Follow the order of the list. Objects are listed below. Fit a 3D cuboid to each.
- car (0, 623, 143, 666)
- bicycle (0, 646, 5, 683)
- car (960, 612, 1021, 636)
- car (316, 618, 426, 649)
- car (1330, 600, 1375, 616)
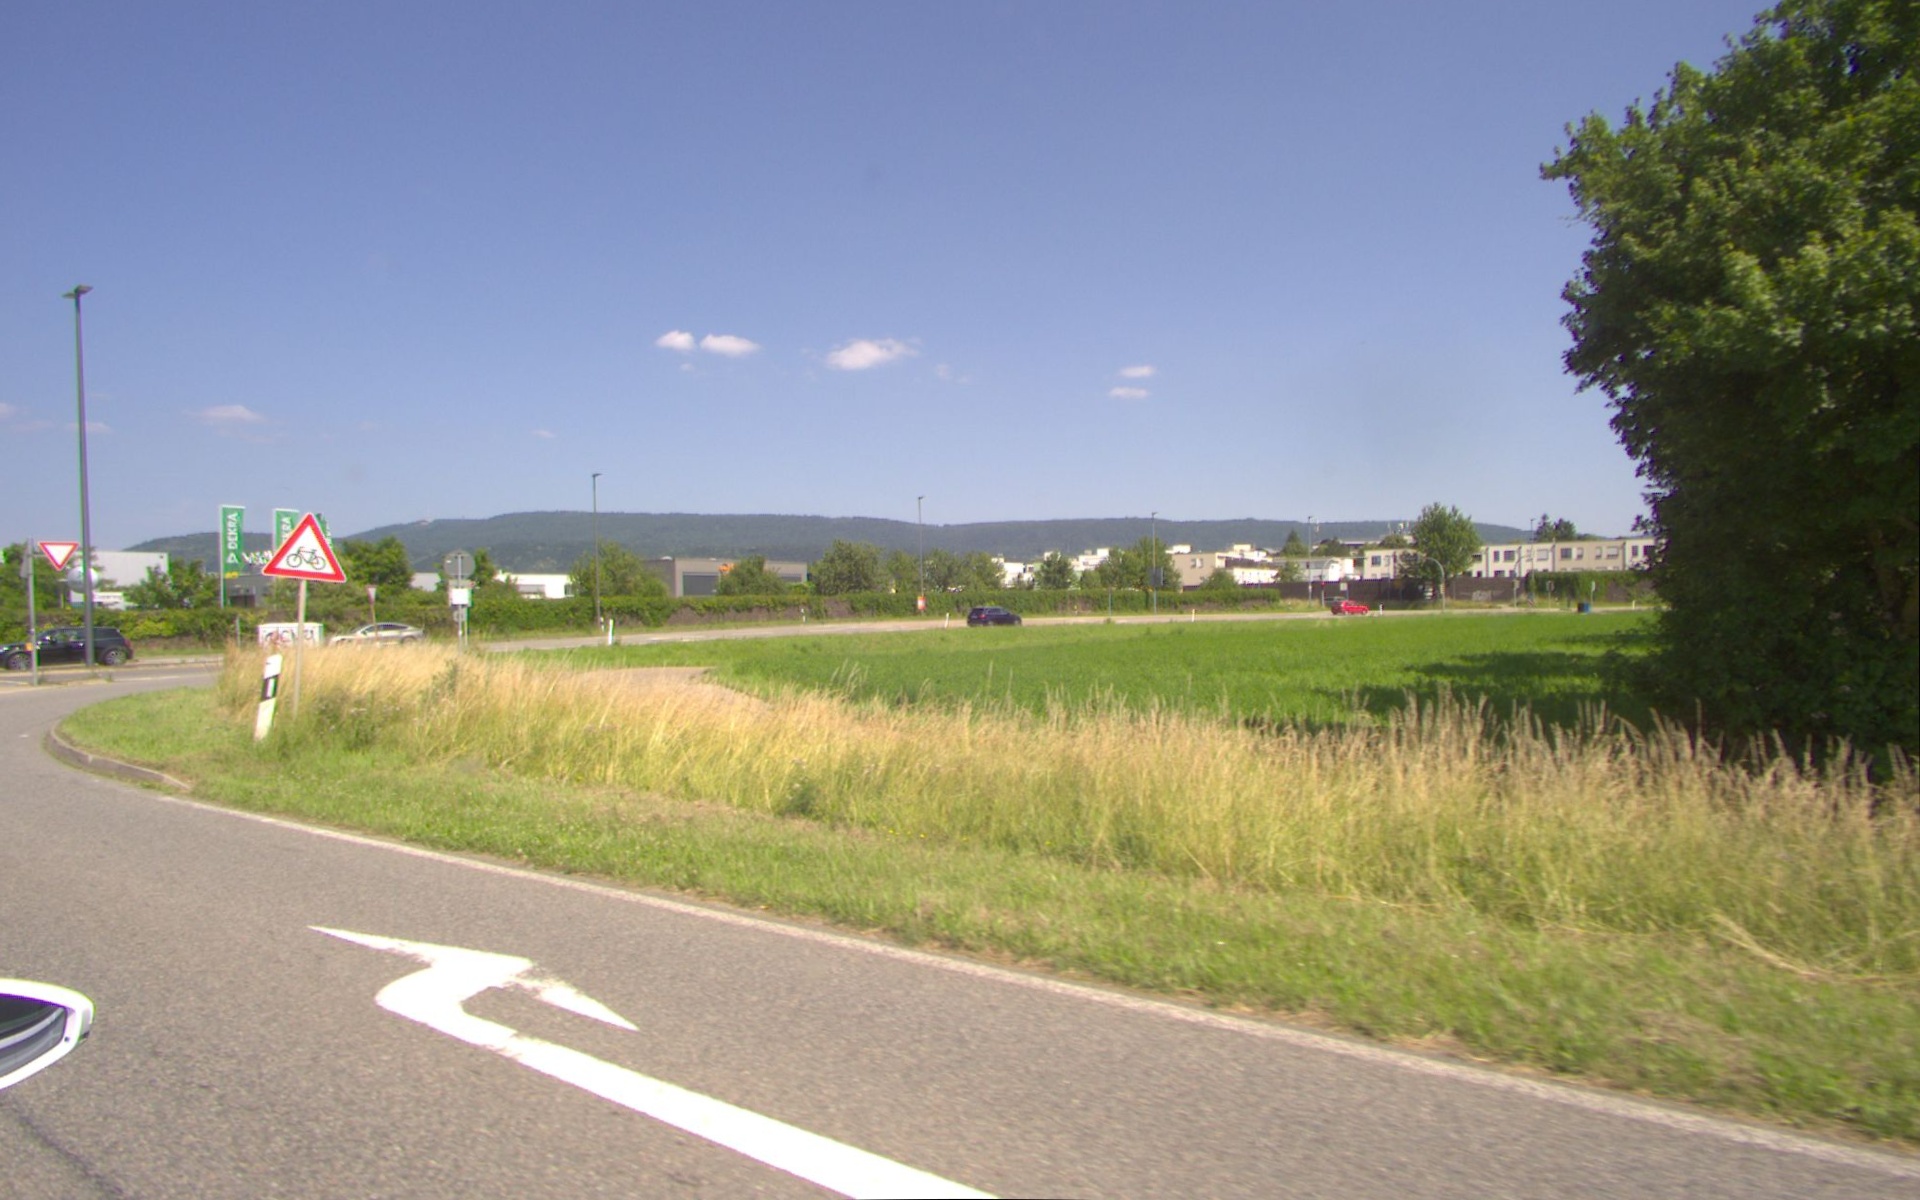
[{"bbox_3d":[-31.152,1.508,34.893,1.787,1.344,3.964,-1,0,43],"label":"car"},{"bbox_3d":[-25.647,1.657,25.852,2.739,0.927,0.760,-1,0,32],"label":"bicycle"},{"bbox_3d":[2.186,1.697,71.658,1.979,1.638,4.299,-1,0,44],"label":"car"},{"bbox_3d":[-28.500,1.581,48.542,4.334,1.344,1.789,-1,0,-44],"label":"car"},{"bbox_3d":[39.650,0.826,101.294,3.926,1.567,1.773,-1,0,-13],"label":"car"}]
